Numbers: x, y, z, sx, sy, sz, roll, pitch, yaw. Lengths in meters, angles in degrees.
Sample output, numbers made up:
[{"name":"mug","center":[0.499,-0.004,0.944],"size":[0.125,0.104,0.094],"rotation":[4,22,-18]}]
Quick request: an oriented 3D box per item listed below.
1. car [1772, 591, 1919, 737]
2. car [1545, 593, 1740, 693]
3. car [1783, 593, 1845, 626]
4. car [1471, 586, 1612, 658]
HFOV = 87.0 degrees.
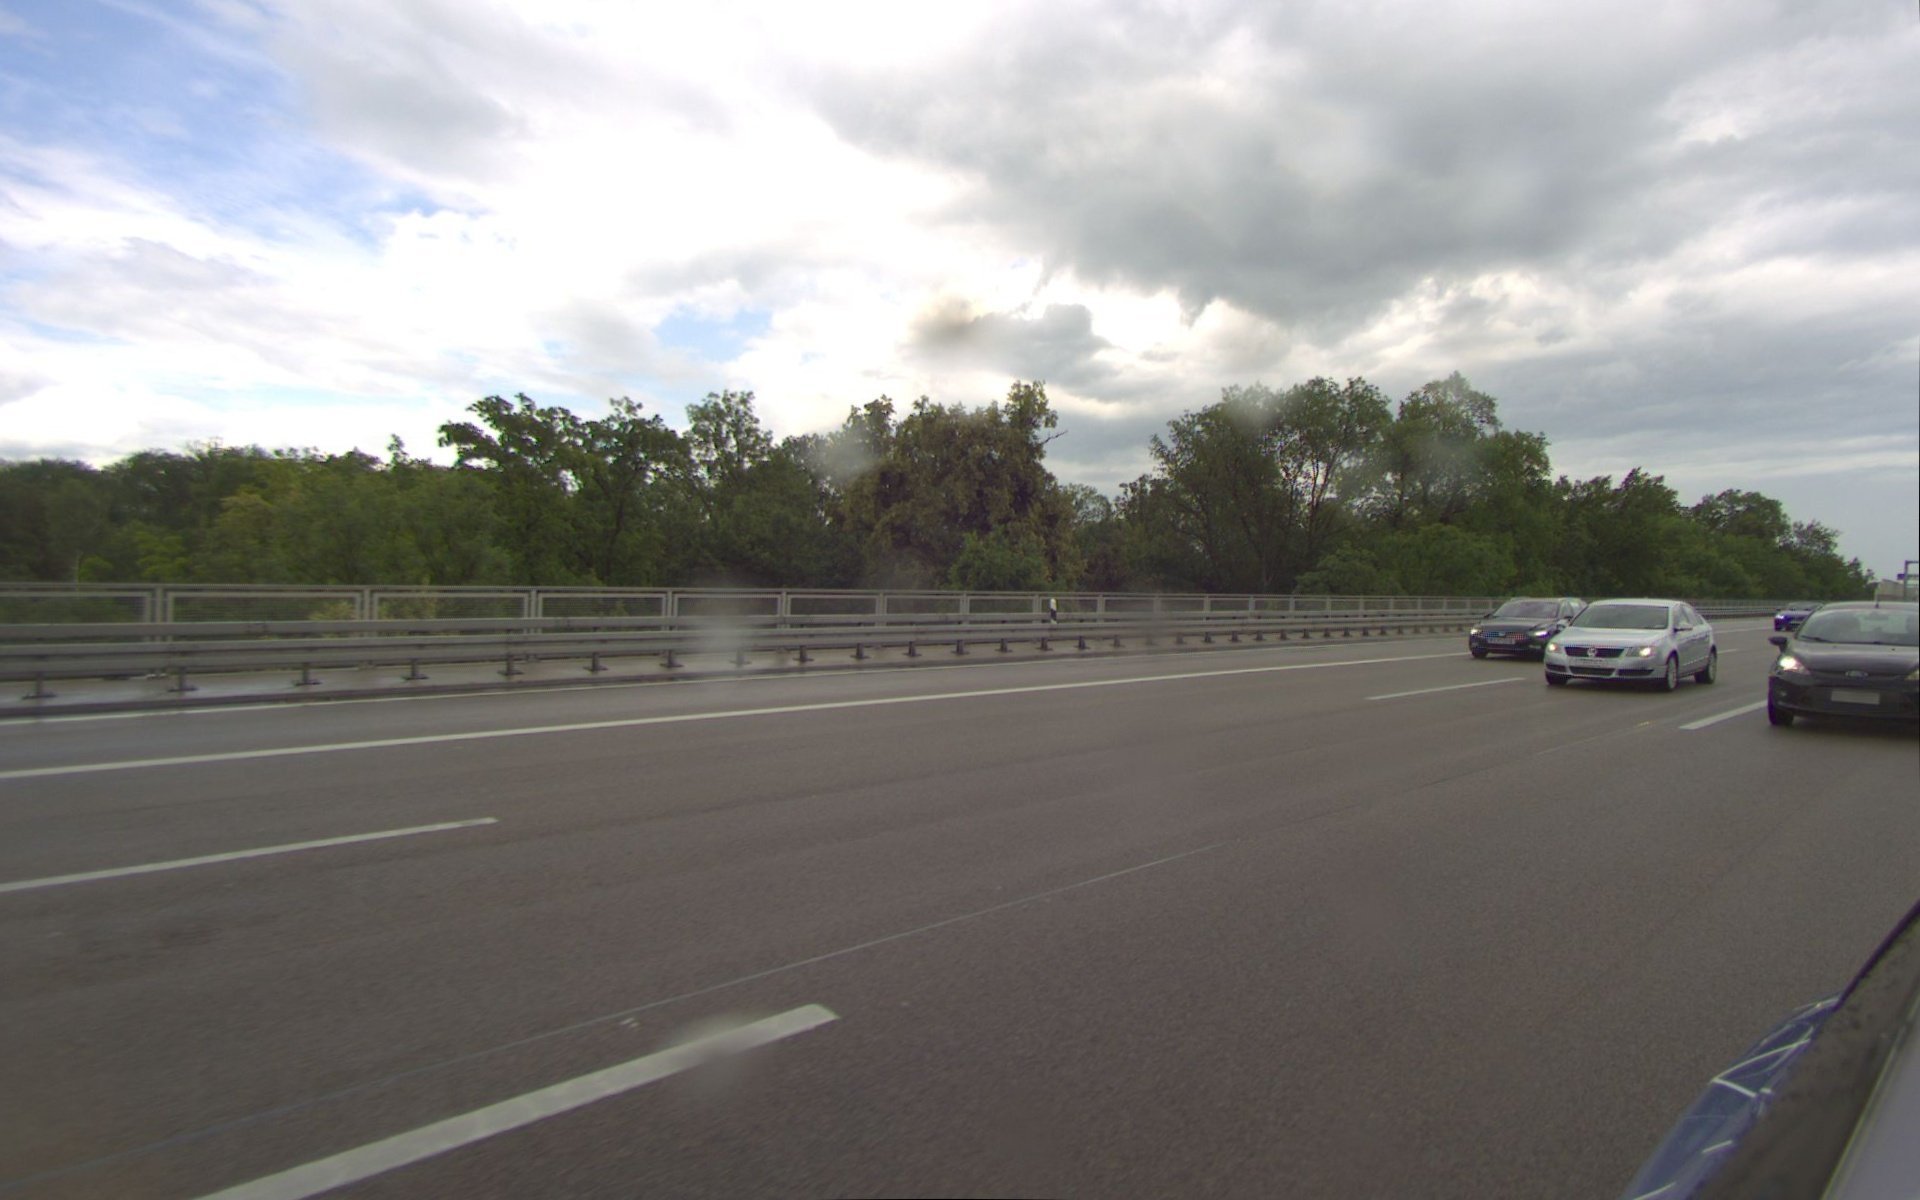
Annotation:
[{"name":"car","center":[11.125,0.643,12.047],"size":[4.331,1.458,1.666],"rotation":[-1,1,-43]},{"name":"car","center":[11.661,0.637,17.173],"size":[4.175,1.465,1.895],"rotation":[0,1,-44]},{"name":"car","center":[40.466,0.410,47.905],"size":[4.511,1.465,1.779],"rotation":[0,1,-44]},{"name":"car","center":[14.089,0.473,24.408],"size":[4.285,1.562,1.817],"rotation":[0,1,-44]}]
